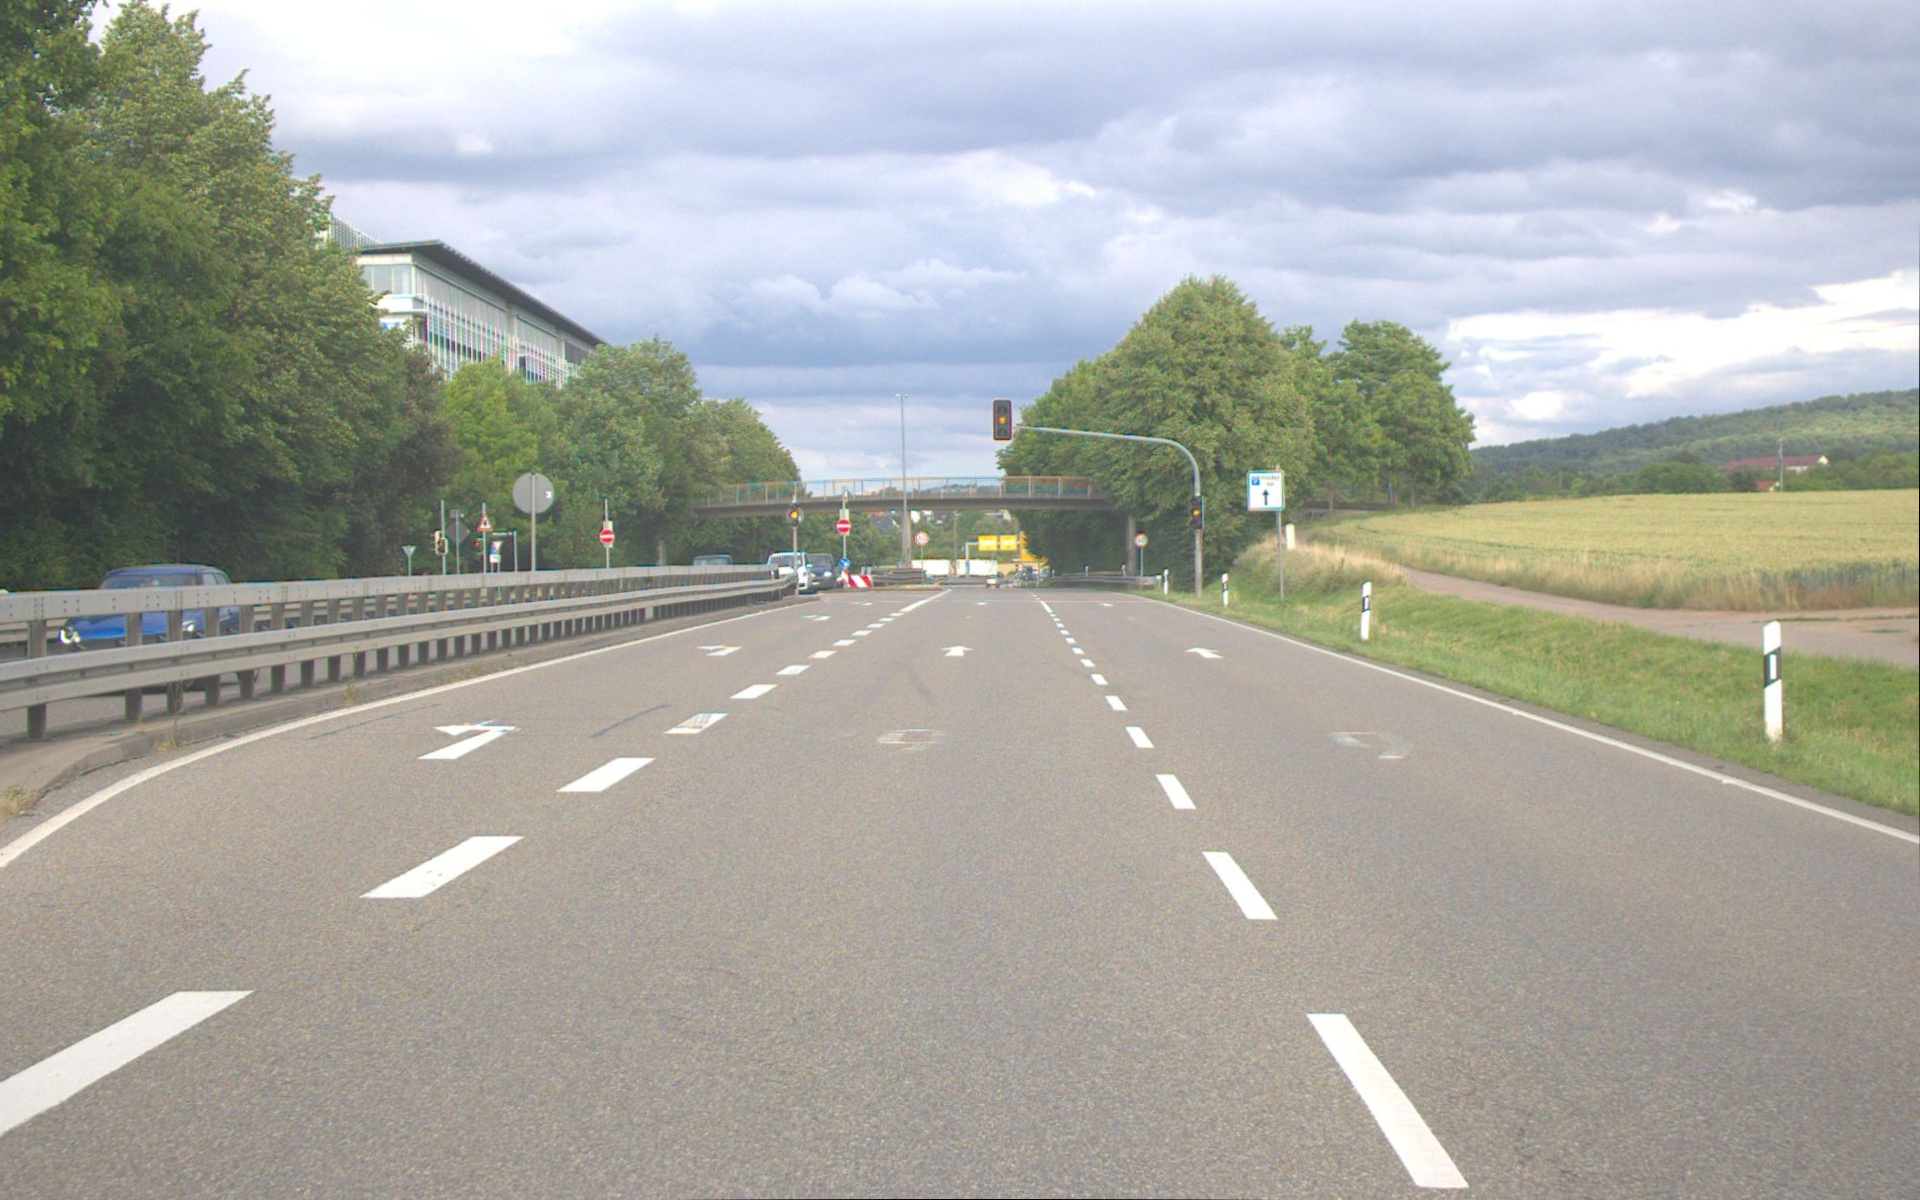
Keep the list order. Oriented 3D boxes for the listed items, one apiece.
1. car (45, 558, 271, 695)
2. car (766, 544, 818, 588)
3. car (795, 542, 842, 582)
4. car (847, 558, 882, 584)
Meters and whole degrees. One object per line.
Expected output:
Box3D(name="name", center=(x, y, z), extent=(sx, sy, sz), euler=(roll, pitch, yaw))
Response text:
Box3D(name="car", center=(-9.429, 0.281, 40.678), extent=(1.769, 1.463, 3.712), euler=(-1, 1, 0))
Box3D(name="car", center=(-7.396, -1.526, 151.742), extent=(1.948, 1.867, 4.737), euler=(-1, 1, 1))
Box3D(name="car", center=(-6.886, -1.883, 167.701), extent=(1.994, 1.867, 4.737), euler=(-1, 1, 1))
Box3D(name="car", center=(-4.158, -1.273, 149.671), extent=(1.358, 1.088, 2.922), euler=(-1, 1, 2))
